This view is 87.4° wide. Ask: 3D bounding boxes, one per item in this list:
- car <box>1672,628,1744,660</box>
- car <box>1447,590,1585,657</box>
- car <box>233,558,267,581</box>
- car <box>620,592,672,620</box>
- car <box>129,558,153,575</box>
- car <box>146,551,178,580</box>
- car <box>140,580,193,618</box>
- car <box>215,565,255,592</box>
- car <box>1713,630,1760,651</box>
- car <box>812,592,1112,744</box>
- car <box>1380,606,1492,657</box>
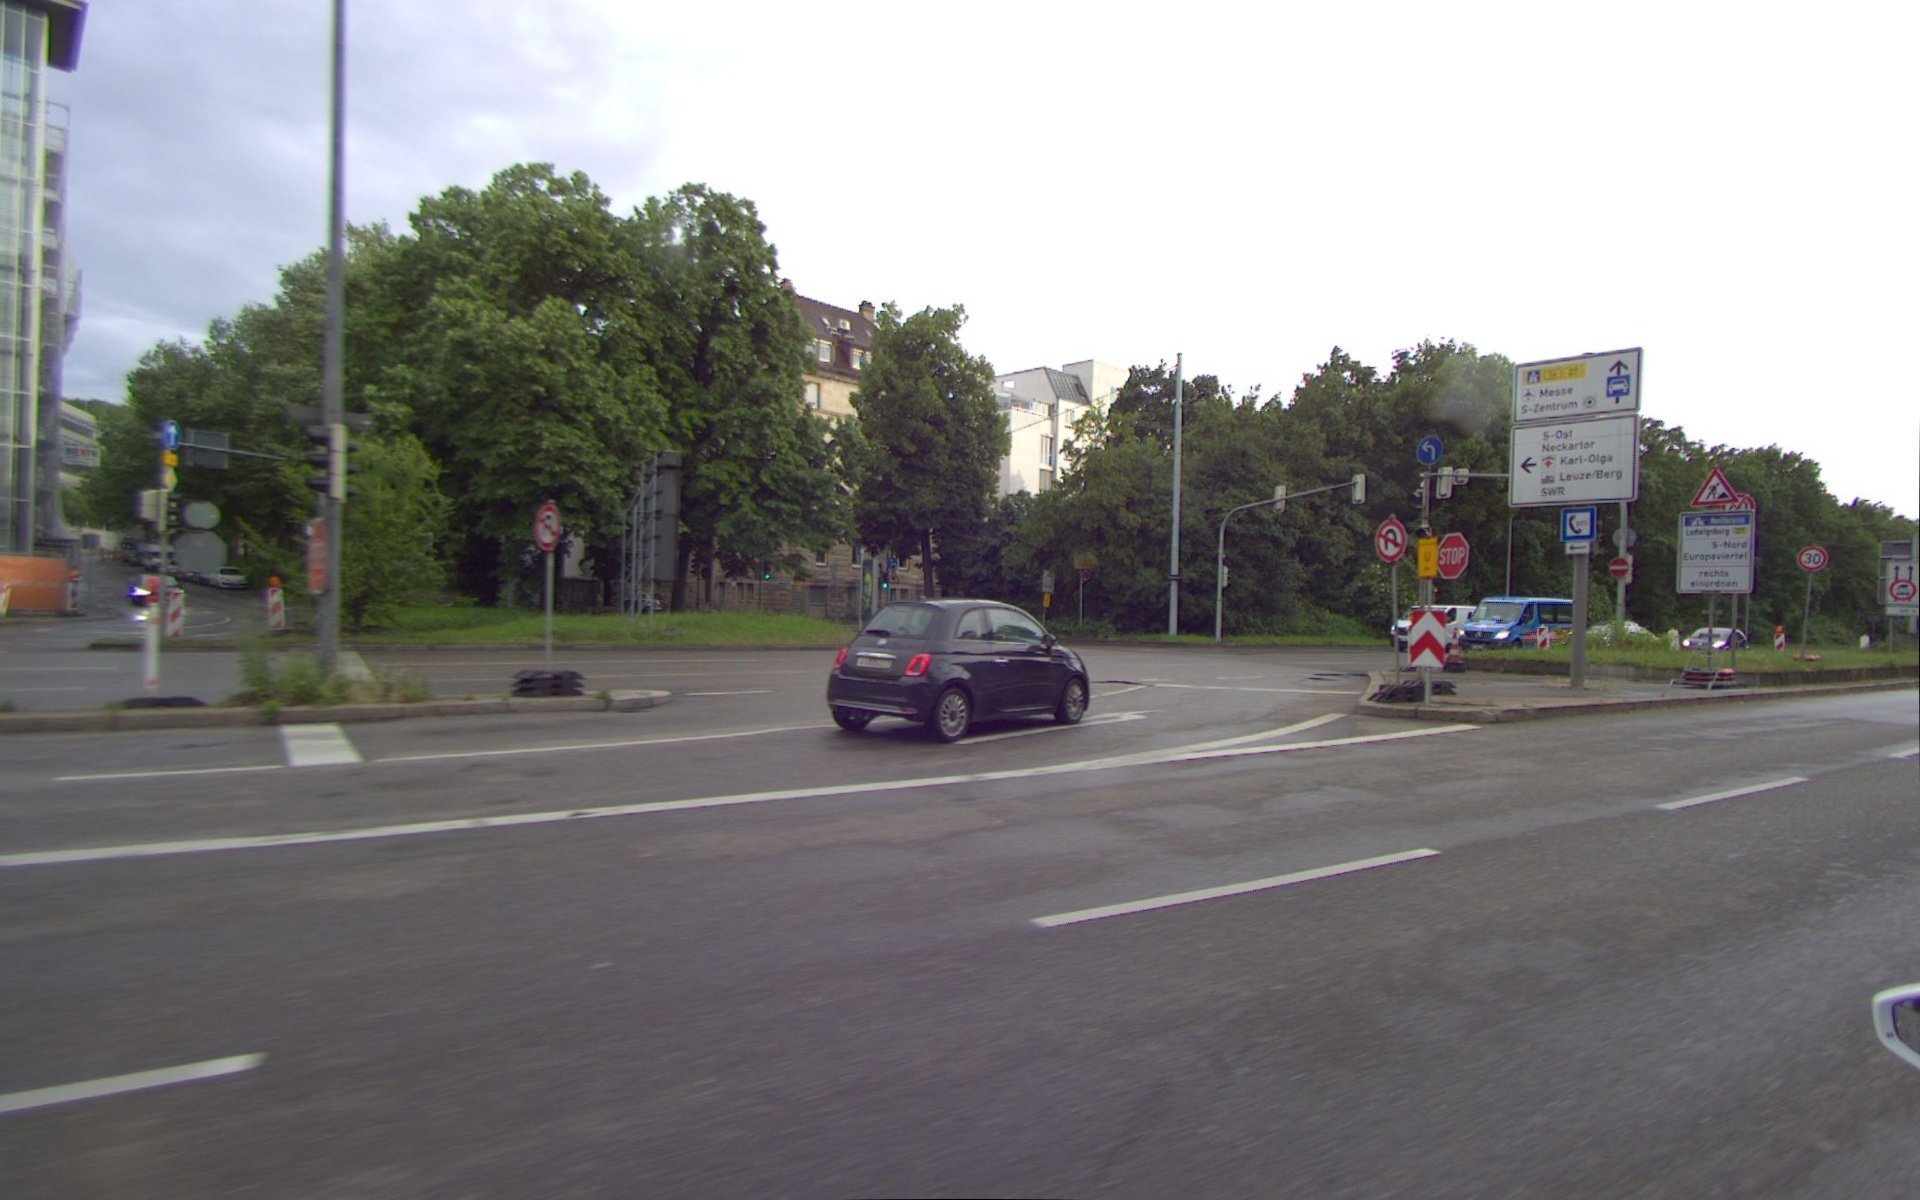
[{"bbox_3d":[31.215,1.838,41.898,3.267,1.216,1.420,3,-1,-35],"label":"car"},{"bbox_3d":[21.647,0.894,39.004,6.181,2.422,2.181,1,0,-35],"label":"car"},{"bbox_3d":[-55.711,-2.373,78.799,1.796,1.648,3.951,2,1,-41],"label":"car"},{"bbox_3d":[-20.450,0.389,65.393,1.866,1.680,3.457,3,-1,-44],"label":"car"},{"bbox_3d":[-85.833,-3.479,105.198,1.796,1.648,3.951,2,1,-41],"label":"car"},{"bbox_3d":[-74.081,-3.248,93.238,2.090,2.514,4.682,2,1,-41],"label":"car"},{"bbox_3d":[-38.180,-0.070,48.317,1.796,1.648,3.951,2,1,-41],"label":"car"},{"bbox_3d":[-49.067,-1.450,67.963,1.796,1.648,3.951,2,1,-41],"label":"car"},{"bbox_3d":[42.861,2.223,55.429,2.765,1.100,1.262,1,0,-35],"label":"car"},{"bbox_3d":[0.147,0.702,11.613,1.568,1.460,3.487,1,-1,40],"label":"car"},{"bbox_3d":[19.836,1.297,41.778,4.940,2.001,2.021,1,0,-35],"label":"car"}]
